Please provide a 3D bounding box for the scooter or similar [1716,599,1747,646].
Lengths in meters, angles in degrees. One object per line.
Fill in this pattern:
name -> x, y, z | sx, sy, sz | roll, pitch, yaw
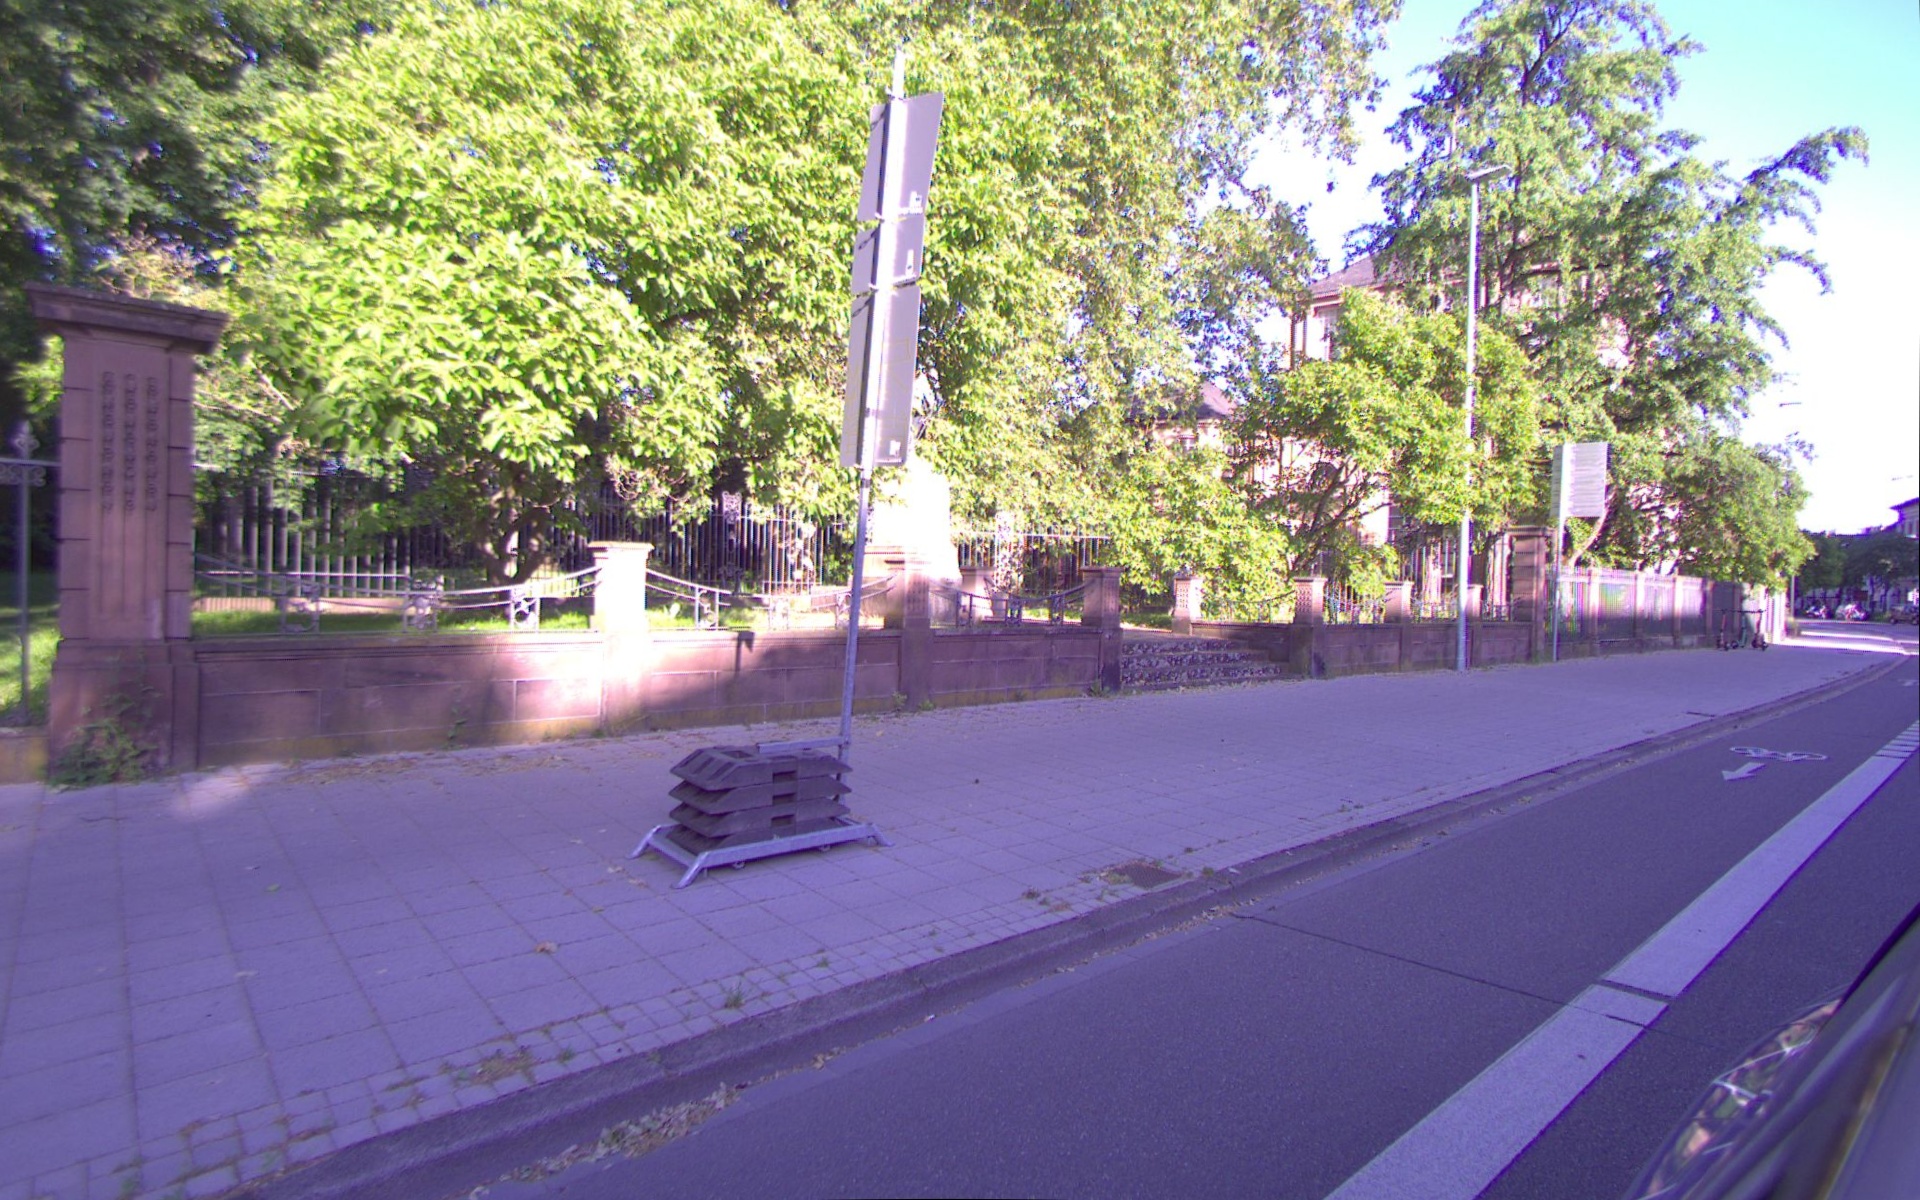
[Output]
scooter or similar -> 22.249, 0.636, 29.200 | 0.572, 1.269, 1.470 | 2, 1, 33

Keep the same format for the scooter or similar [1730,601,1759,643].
scooter or similar -> 23.597, 0.654, 30.424 | 0.574, 1.199, 1.465 | 3, 2, 41

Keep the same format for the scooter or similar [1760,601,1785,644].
scooter or similar -> 24.696, 0.666, 30.774 | 0.514, 1.255, 1.502 | 2, 2, 37
